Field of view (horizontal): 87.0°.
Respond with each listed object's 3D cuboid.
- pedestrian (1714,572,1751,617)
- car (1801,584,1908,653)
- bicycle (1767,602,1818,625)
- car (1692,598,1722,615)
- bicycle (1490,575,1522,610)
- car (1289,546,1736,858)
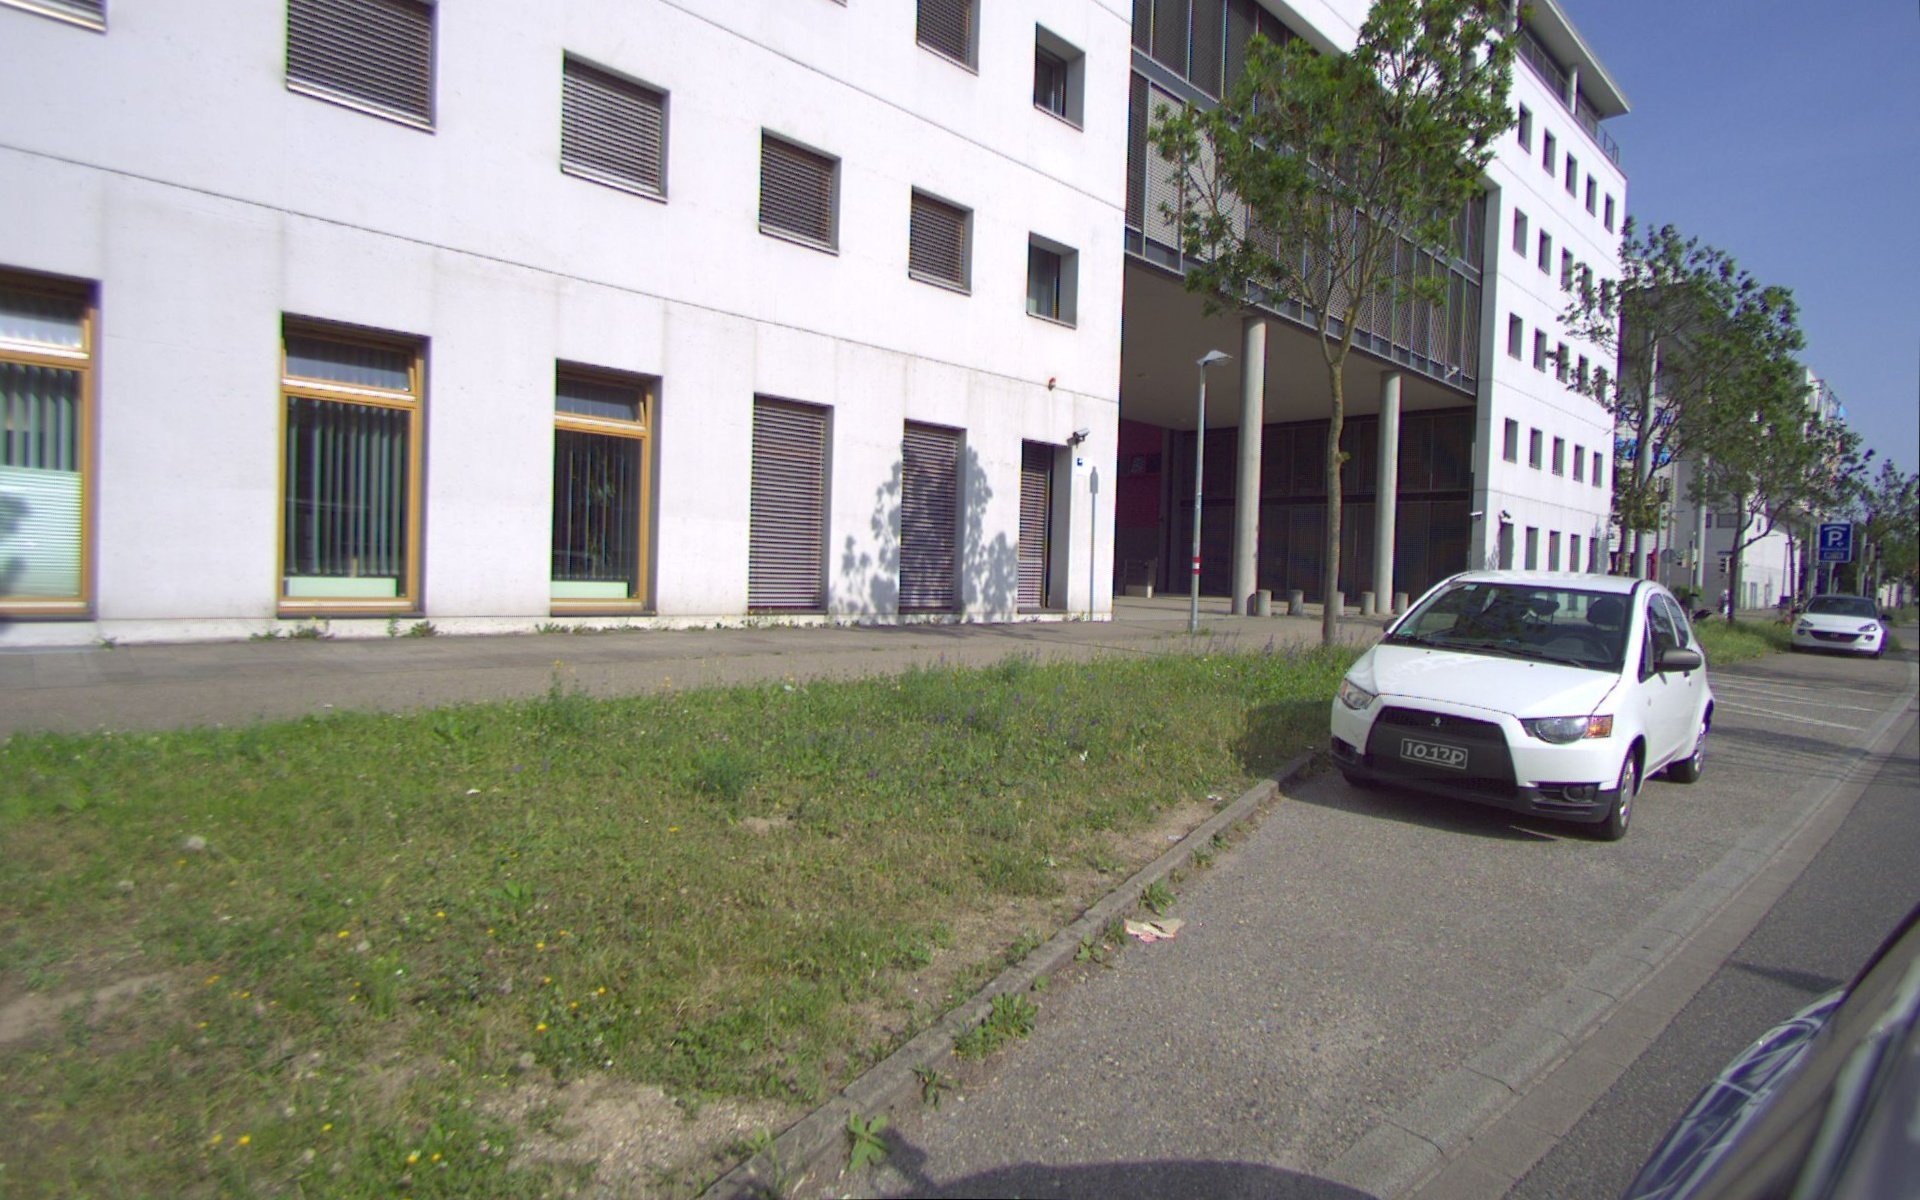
[{"bbox_3d":[29.167,-0.209,38.232,0.698,1.635,0.781,1,2,-16],"label":"pedestrian"},{"bbox_3d":[22.300,0.419,25.192,3.719,1.538,1.722,1,2,-45],"label":"car"},{"bbox_3d":[30.456,0.477,37.037,0.511,0.639,1.277,0,8,-36],"label":"bicycle"},{"bbox_3d":[28.743,0.255,38.931,0.488,0.595,0.770,1,2,-15],"label":"car"},{"bbox_3d":[17.939,-0.256,33.217,0.494,1.099,1.526,5,4,43],"label":"bicycle"},{"bbox_3d":[3.982,0.489,6.993,1.690,1.545,3.788,3,2,45],"label":"car"}]
